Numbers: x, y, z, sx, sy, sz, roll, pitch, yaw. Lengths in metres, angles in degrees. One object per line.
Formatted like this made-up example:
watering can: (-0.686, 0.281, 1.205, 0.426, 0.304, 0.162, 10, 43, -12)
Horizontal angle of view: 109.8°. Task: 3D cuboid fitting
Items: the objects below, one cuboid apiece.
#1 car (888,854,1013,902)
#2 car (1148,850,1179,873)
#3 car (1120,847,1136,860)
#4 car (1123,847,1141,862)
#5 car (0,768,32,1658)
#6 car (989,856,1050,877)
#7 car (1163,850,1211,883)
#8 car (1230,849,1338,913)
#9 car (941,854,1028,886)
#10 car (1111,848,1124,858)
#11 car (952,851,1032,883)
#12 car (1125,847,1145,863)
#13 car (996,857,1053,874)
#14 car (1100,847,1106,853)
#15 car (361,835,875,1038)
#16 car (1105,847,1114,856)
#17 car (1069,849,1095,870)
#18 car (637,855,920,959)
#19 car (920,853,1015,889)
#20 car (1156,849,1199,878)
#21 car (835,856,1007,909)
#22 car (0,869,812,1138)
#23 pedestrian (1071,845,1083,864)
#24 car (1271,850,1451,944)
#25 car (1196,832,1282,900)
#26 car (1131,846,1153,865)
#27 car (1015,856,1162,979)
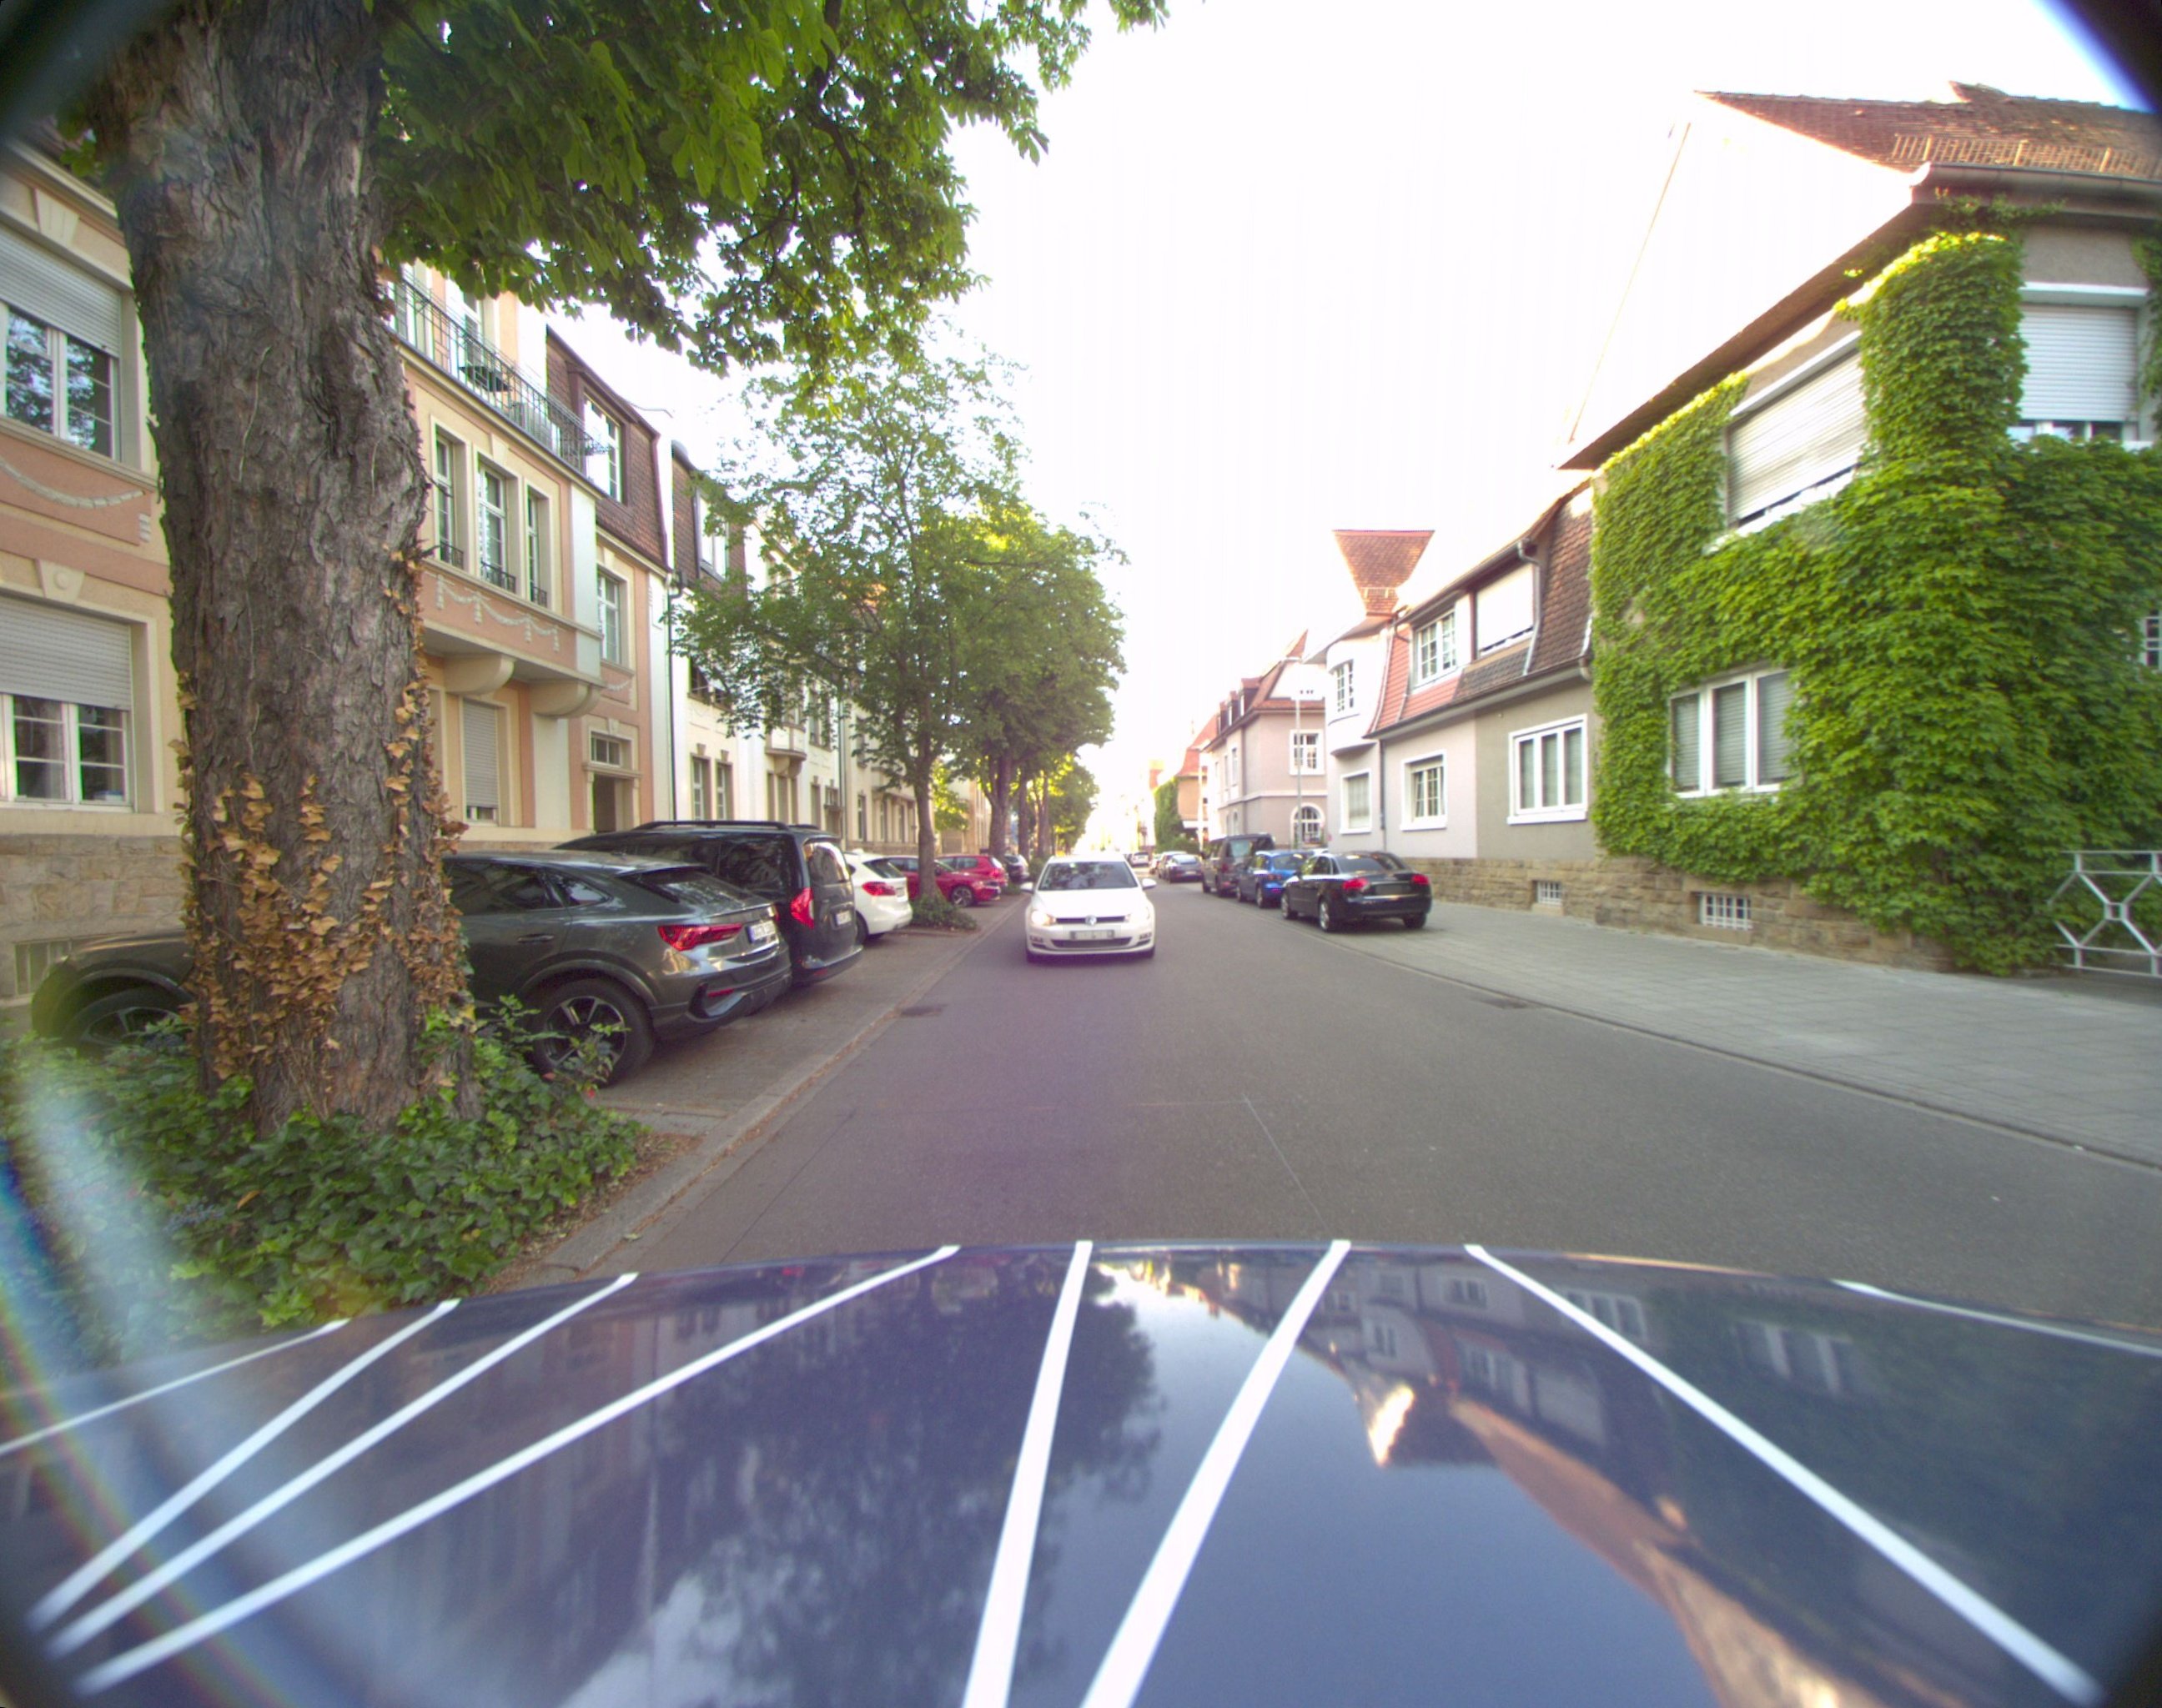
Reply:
car: (-4.133, 0.745, 24.461, 3.680, 1.473, 1.659, 0, 1, 3)
car: (5.445, 0.456, 50.379, 1.662, 1.354, 3.677, -3, 1, 2)
car: (5.569, -0.073, 91.004, 1.699, 1.520, 3.677, -3, 1, 2)
car: (5.441, 0.037, 80.758, 1.699, 1.520, 3.677, -3, 1, 2)
car: (-4.587, 0.770, 0.517, 4.763, 1.864, 1.896, 0, 1, -4)
car: (-3.559, 0.719, 44.432, 3.399, 1.143, 1.542, 0, 1, 2)
car: (5.067, 0.583, 36.663, 1.932, 1.376, 4.063, -3, 1, 4)
car: (5.287, 0.636, 20.338, 1.768, 1.438, 4.062, -3, 1, 0)
car: (-4.308, 0.706, 34.321, 3.680, 1.390, 1.576, 0, 1, 2)
car: (5.554, -0.166, 115.857, 1.699, 1.520, 3.677, -3, 1, 2)
car: (-4.275, 0.615, 36.835, 3.680, 1.548, 1.576, 0, 1, 2)
car: (5.340, 0.096, 75.267, 1.699, 1.520, 3.677, -3, 1, 2)
car: (-3.510, 0.712, 47.637, 3.399, 1.057, 1.542, 0, 1, 2)
car: (5.845, -1.076, 202.663, 1.699, 1.520, 3.677, -3, 1, 2)
car: (-4.430, 0.736, 7.827, 4.121, 1.827, 1.844, 0, 1, -2)
car: (5.577, -0.513, 149.114, 1.699, 1.520, 3.677, -3, 1, 2)
car: (0.118, 0.372, 55.728, 1.819, 1.454, 4.072, -2, 0, 1)
car: (-4.824, 0.814, 12.527, 3.950, 1.568, 1.719, 0, 1, 0)
car: (-4.672, 0.703, 31.705, 3.680, 1.458, 1.576, 0, 1, 2)
car: (5.289, 0.491, 42.139, 1.932, 1.458, 4.062, -3, 1, 2)
car: (-4.528, 0.794, 21.934, 4.530, 1.443, 1.867, 0, 1, 3)
car: (-4.532, 0.898, 5.503, 4.522, 1.514, 1.844, 0, 1, -4)
pedestrian: (-0.401, 0.048, 76.196, 1.119, 1.927, 1.097, -3, 1, -1)
car: (5.144, 0.690, 14.658, 1.806, 1.438, 4.428, -3, 1, 0)
car: (5.151, 0.344, 25.349, 1.842, 1.964, 4.612, -3, 1, 0)
car: (5.426, 0.131, 68.002, 1.699, 1.558, 3.677, -3, 1, 2)
car: (0.129, 0.816, 11.680, 1.819, 1.454, 4.072, -2, 0, 1)
